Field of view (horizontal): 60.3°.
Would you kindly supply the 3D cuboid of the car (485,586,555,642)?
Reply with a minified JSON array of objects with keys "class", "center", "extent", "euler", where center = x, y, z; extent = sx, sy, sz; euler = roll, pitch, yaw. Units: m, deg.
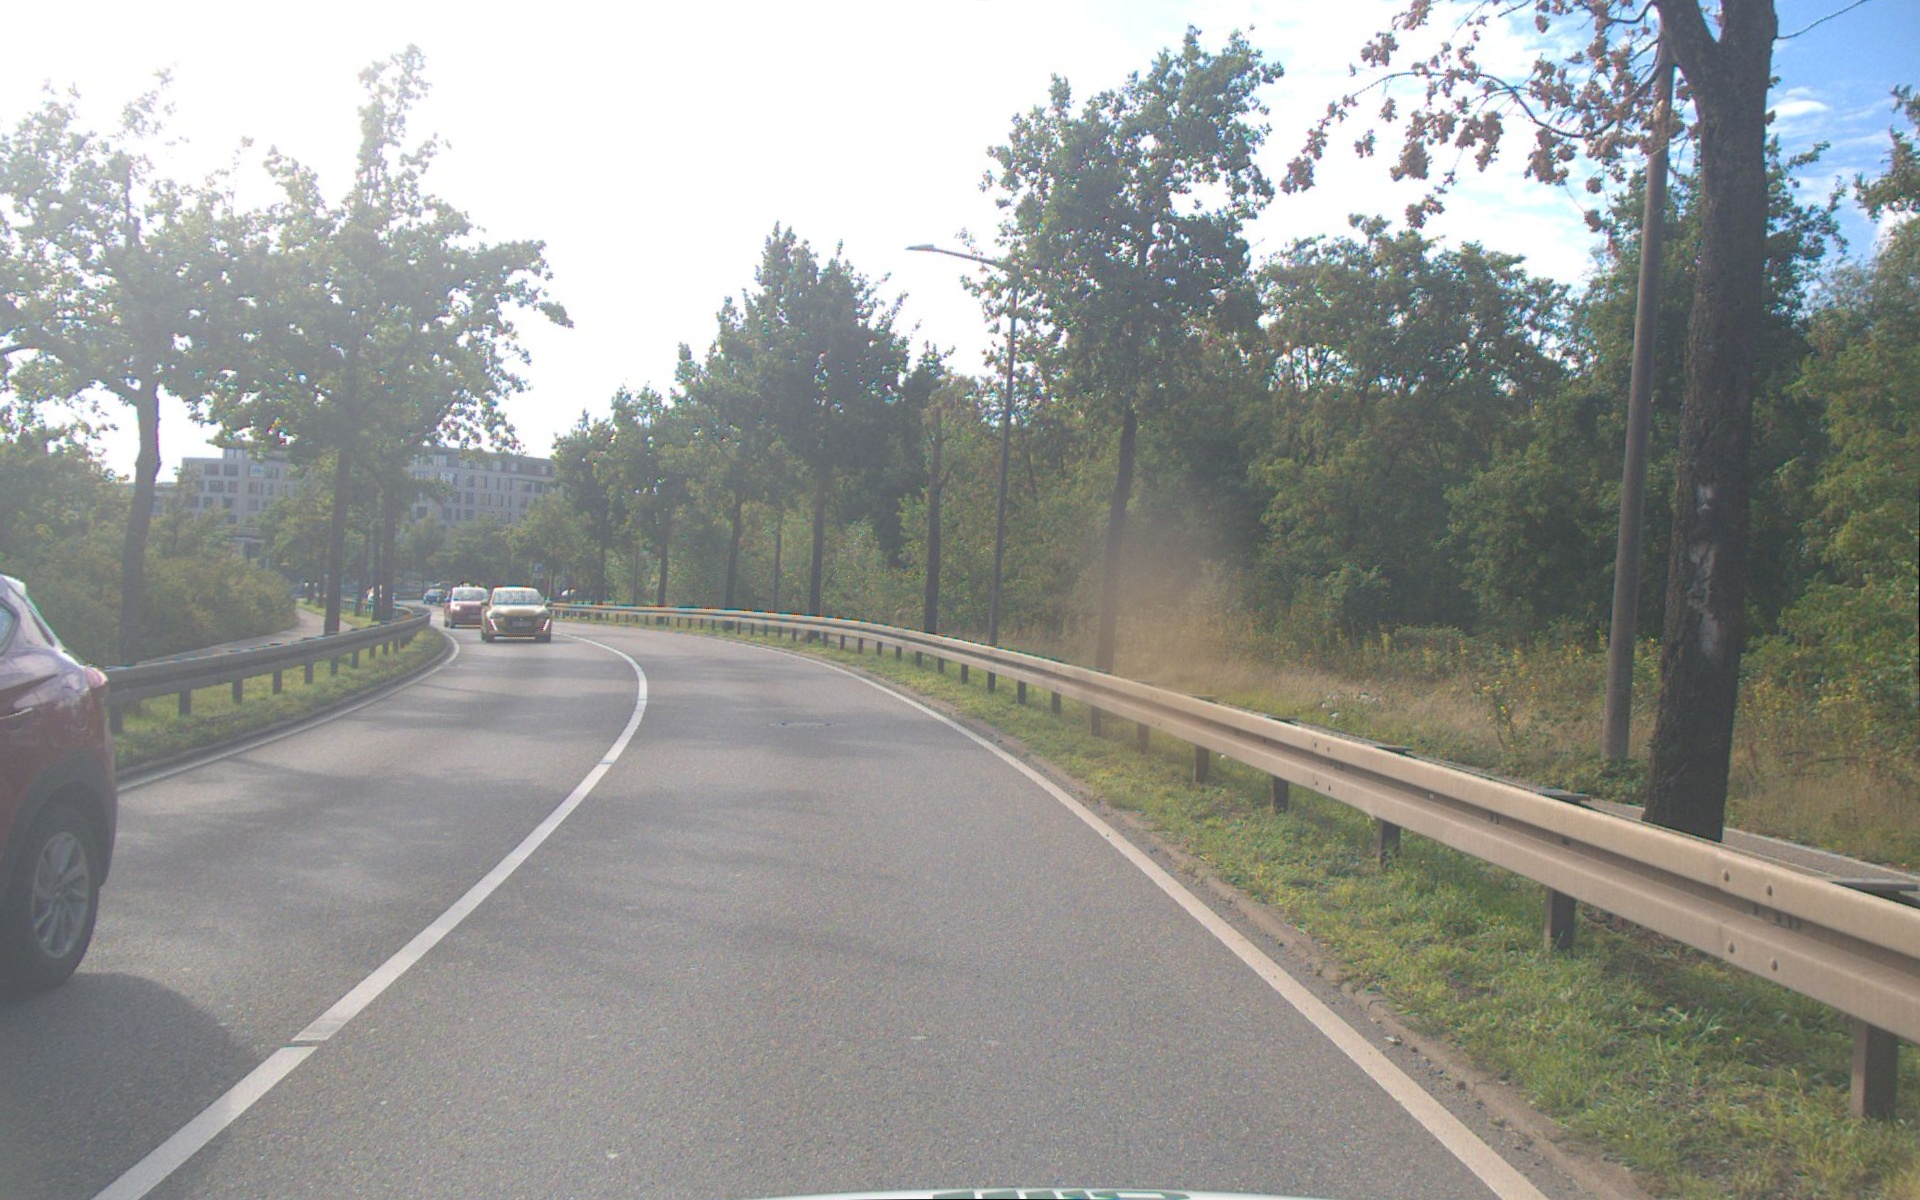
[{"class":"car","center":[-12.019,0.358,45.340],"extent":[1.769,1.450,3.858],"euler":[0,0,-14]}]

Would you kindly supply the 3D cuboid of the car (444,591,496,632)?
[{"class":"car","center":[-18.206,0.393,61.410],"extent":[1.545,1.450,3.567],"euler":[0,0,-22]}]

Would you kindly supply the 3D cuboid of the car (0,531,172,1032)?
[{"class":"car","center":[-4.075,0.606,4.809],"extent":[1.774,1.703,4.293],"euler":[1,0,-5]}]

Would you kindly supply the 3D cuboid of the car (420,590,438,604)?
[{"class":"car","center":[-55.111,-0.332,171.767],"extent":[1.541,1.450,3.577],"euler":[0,0,-15]}]
